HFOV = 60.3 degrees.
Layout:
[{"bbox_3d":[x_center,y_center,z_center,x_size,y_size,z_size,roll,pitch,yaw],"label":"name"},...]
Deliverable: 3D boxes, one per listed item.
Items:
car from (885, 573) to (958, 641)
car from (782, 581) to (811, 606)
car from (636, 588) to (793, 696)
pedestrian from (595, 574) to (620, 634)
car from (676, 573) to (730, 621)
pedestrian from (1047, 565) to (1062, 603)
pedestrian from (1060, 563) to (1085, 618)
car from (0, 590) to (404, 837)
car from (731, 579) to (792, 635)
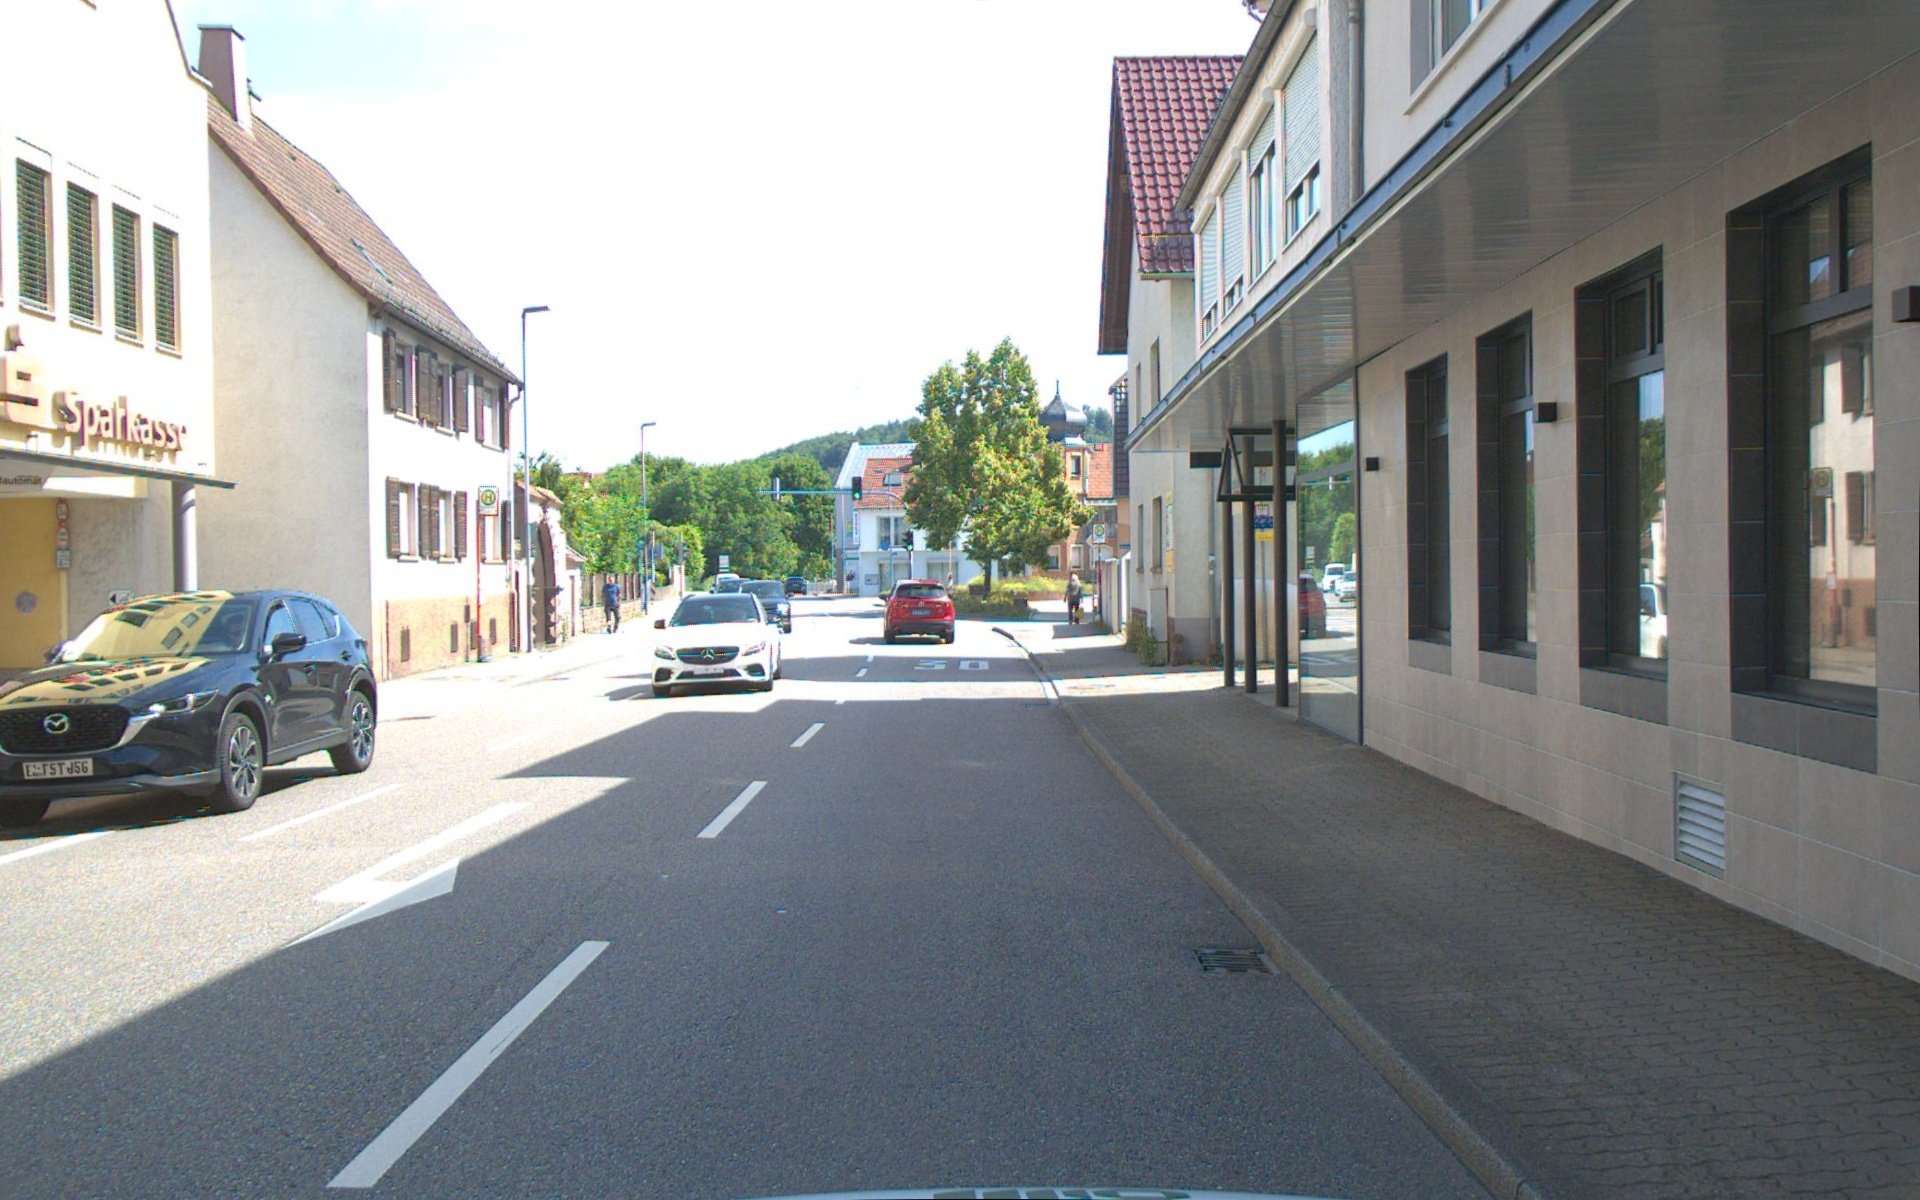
[{"bbox_3d":[-1.002,0.188,44.878,1.820,1.744,4.422,0,0,0],"label":"car"},{"bbox_3d":[-13.358,-0.502,135.195,1.893,1.825,3.955,-2,-2,-1],"label":"car"},{"bbox_3d":[-3.770,0.603,26.212,1.948,1.469,5.097,-2,0,-3],"label":"car"},{"bbox_3d":[-11.170,0.147,52.474,0.653,1.856,0.797,-2,-2,-7],"label":"pedestrian"},{"bbox_3d":[-10.540,-0.096,68.083,1.739,1.816,3.836,-2,-2,-3],"label":"car"},{"bbox_3d":[4.889,-0.828,85.471,0.630,1.912,0.651,-2,-2,-7],"label":"pedestrian"},{"bbox_3d":[3.658,-0.293,53.735,0.630,1.737,0.699,-2,-2,-7],"label":"pedestrian"},{"bbox_3d":[-6.204,0.788,13.555,1.830,1.617,4.516,-3,0,-2],"label":"car"},{"bbox_3d":[-6.274,0.173,52.147,1.805,1.559,4.246,-2,2,-7],"label":"car"}]
